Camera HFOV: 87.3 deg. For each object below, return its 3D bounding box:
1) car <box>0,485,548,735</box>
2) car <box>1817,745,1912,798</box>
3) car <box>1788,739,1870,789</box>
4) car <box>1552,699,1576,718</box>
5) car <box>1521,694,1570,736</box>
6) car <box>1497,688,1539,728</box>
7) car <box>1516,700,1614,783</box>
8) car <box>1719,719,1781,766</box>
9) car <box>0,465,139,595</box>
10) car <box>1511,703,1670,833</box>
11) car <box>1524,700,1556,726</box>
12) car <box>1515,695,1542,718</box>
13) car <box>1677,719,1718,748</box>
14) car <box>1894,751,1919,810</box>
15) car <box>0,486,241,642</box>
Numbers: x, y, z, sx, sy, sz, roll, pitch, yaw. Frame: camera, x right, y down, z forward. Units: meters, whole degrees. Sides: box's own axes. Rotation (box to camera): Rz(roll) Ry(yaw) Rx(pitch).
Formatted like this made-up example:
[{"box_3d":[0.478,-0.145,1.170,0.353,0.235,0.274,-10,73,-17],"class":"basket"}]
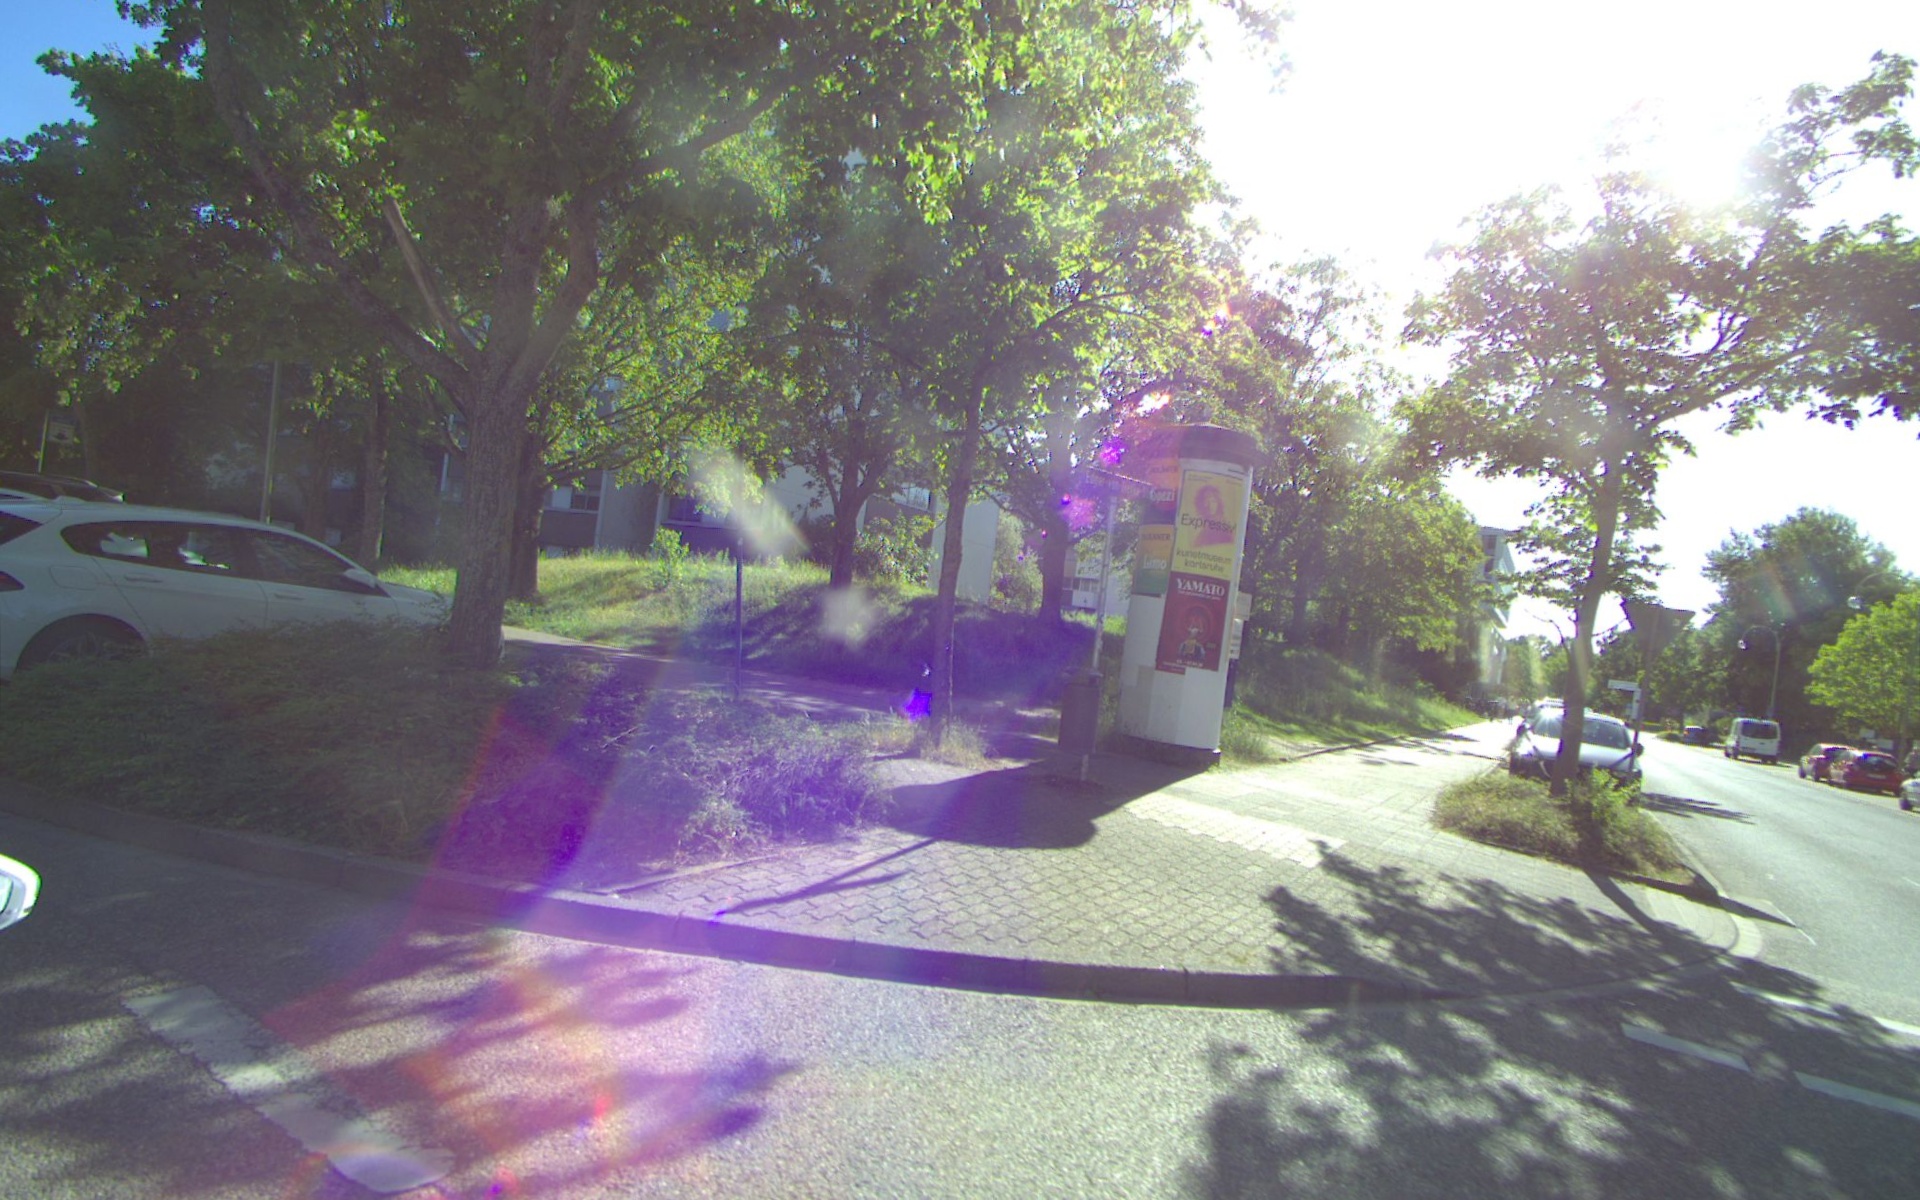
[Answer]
[{"box_3d":[-6.068,0.070,8.637,1.805,1.613,4.432,7,1,29],"class":"car"},{"box_3d":[33.149,6.262,36.985,1.739,1.440,3.869,7,-2,31],"class":"car"},{"box_3d":[35.446,6.641,41.129,1.618,1.571,3.997,7,-2,29],"class":"car"},{"box_3d":[74.463,13.355,124.122,1.964,2.037,4.000,8,-2,26],"class":"car"},{"box_3d":[30.426,5.978,52.326,1.966,1.820,4.446,7,-2,30],"class":"car"},{"box_3d":[34.073,6.596,61.538,1.966,2.037,3.997,7,-2,29],"class":"car"},{"box_3d":[15.274,3.518,25.543,1.804,1.637,4.455,7,-2,30],"class":"car"},{"box_3d":[44.340,7.952,56.557,1.966,2.206,3.996,7,-2,31],"class":"car"},{"box_3d":[-13.752,-1.073,13.271,1.704,1.638,4.124,6,0,30],"class":"car"},{"box_3d":[10.143,2.601,16.405,1.804,1.548,3.995,7,-1,30],"class":"car"},{"box_3d":[39.321,7.656,68.197,1.668,1.508,3.944,7,-2,30],"class":"car"},{"box_3d":[59.606,11.152,105.486,1.964,2.037,4.000,7,-2,26],"class":"car"},{"box_3d":[58.249,10.545,79.511,1.966,1.894,3.996,7,-2,31],"class":"car"},{"box_3d":[26.755,4.997,26.961,1.682,1.510,3.767,7,-2,32],"class":"car"},{"box_3d":[-11.231,-0.542,11.508,1.786,1.563,4.454,7,-2,29],"class":"car"}]
